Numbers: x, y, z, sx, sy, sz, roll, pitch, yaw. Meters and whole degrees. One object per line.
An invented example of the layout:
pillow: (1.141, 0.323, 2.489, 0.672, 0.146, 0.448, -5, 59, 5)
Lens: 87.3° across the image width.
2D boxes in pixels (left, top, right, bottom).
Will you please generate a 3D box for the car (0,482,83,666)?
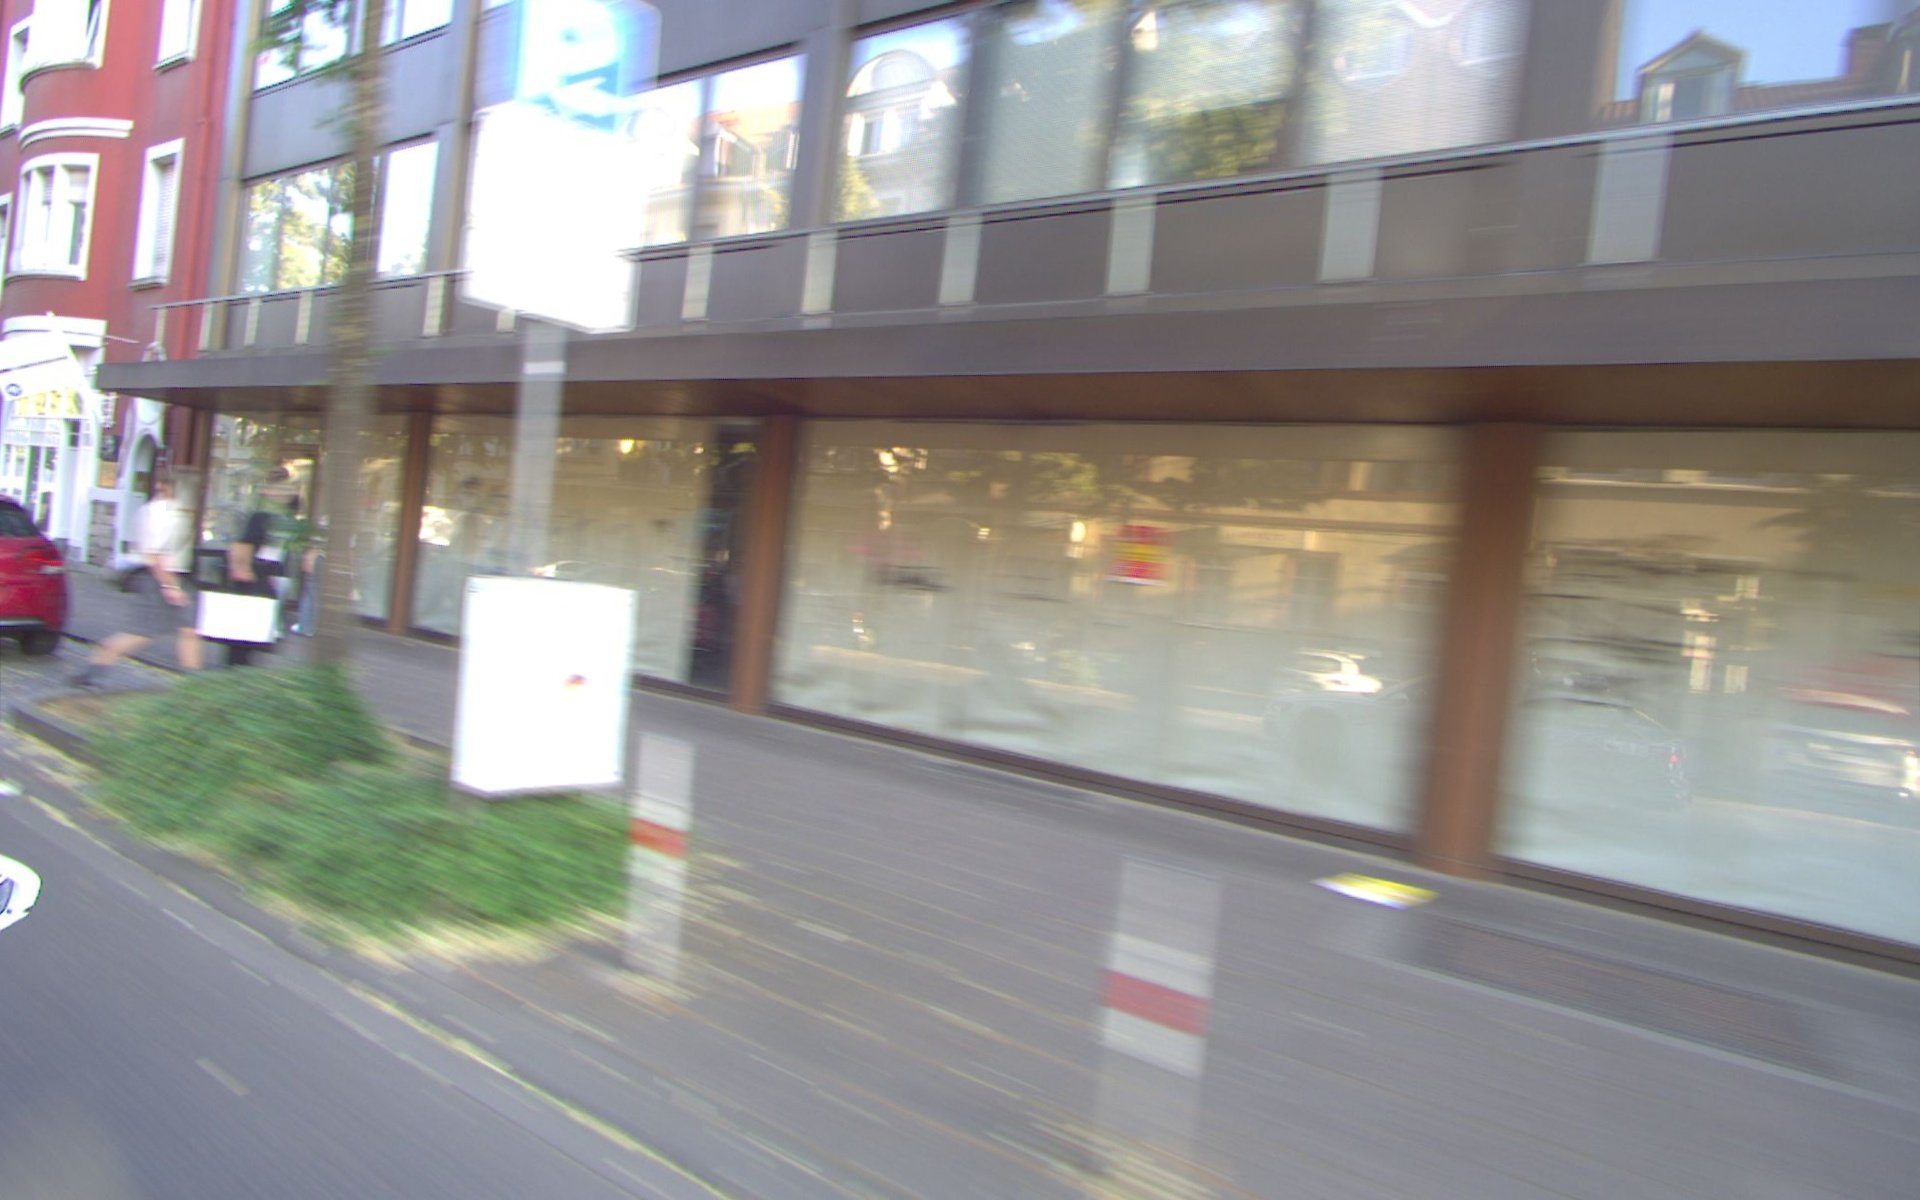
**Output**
car: (-10.099, -0.451, 9.238, 4.673, 1.513, 1.723, 7, 3, 31)

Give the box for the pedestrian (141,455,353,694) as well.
pedestrian: (-5.967, -0.216, 8.471, 0.927, 1.810, 1.048, 6, 3, 16)

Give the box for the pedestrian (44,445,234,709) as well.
pedestrian: (-6.111, -0.180, 7.506, 0.853, 1.811, 0.731, 6, 4, 16)

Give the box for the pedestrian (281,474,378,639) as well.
pedestrian: (-7.403, -0.505, 11.815, 0.822, 1.834, 0.589, 7, 4, 32)

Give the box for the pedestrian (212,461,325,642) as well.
pedestrian: (-7.679, -0.536, 11.165, 0.960, 1.894, 0.625, 7, 4, 32)
